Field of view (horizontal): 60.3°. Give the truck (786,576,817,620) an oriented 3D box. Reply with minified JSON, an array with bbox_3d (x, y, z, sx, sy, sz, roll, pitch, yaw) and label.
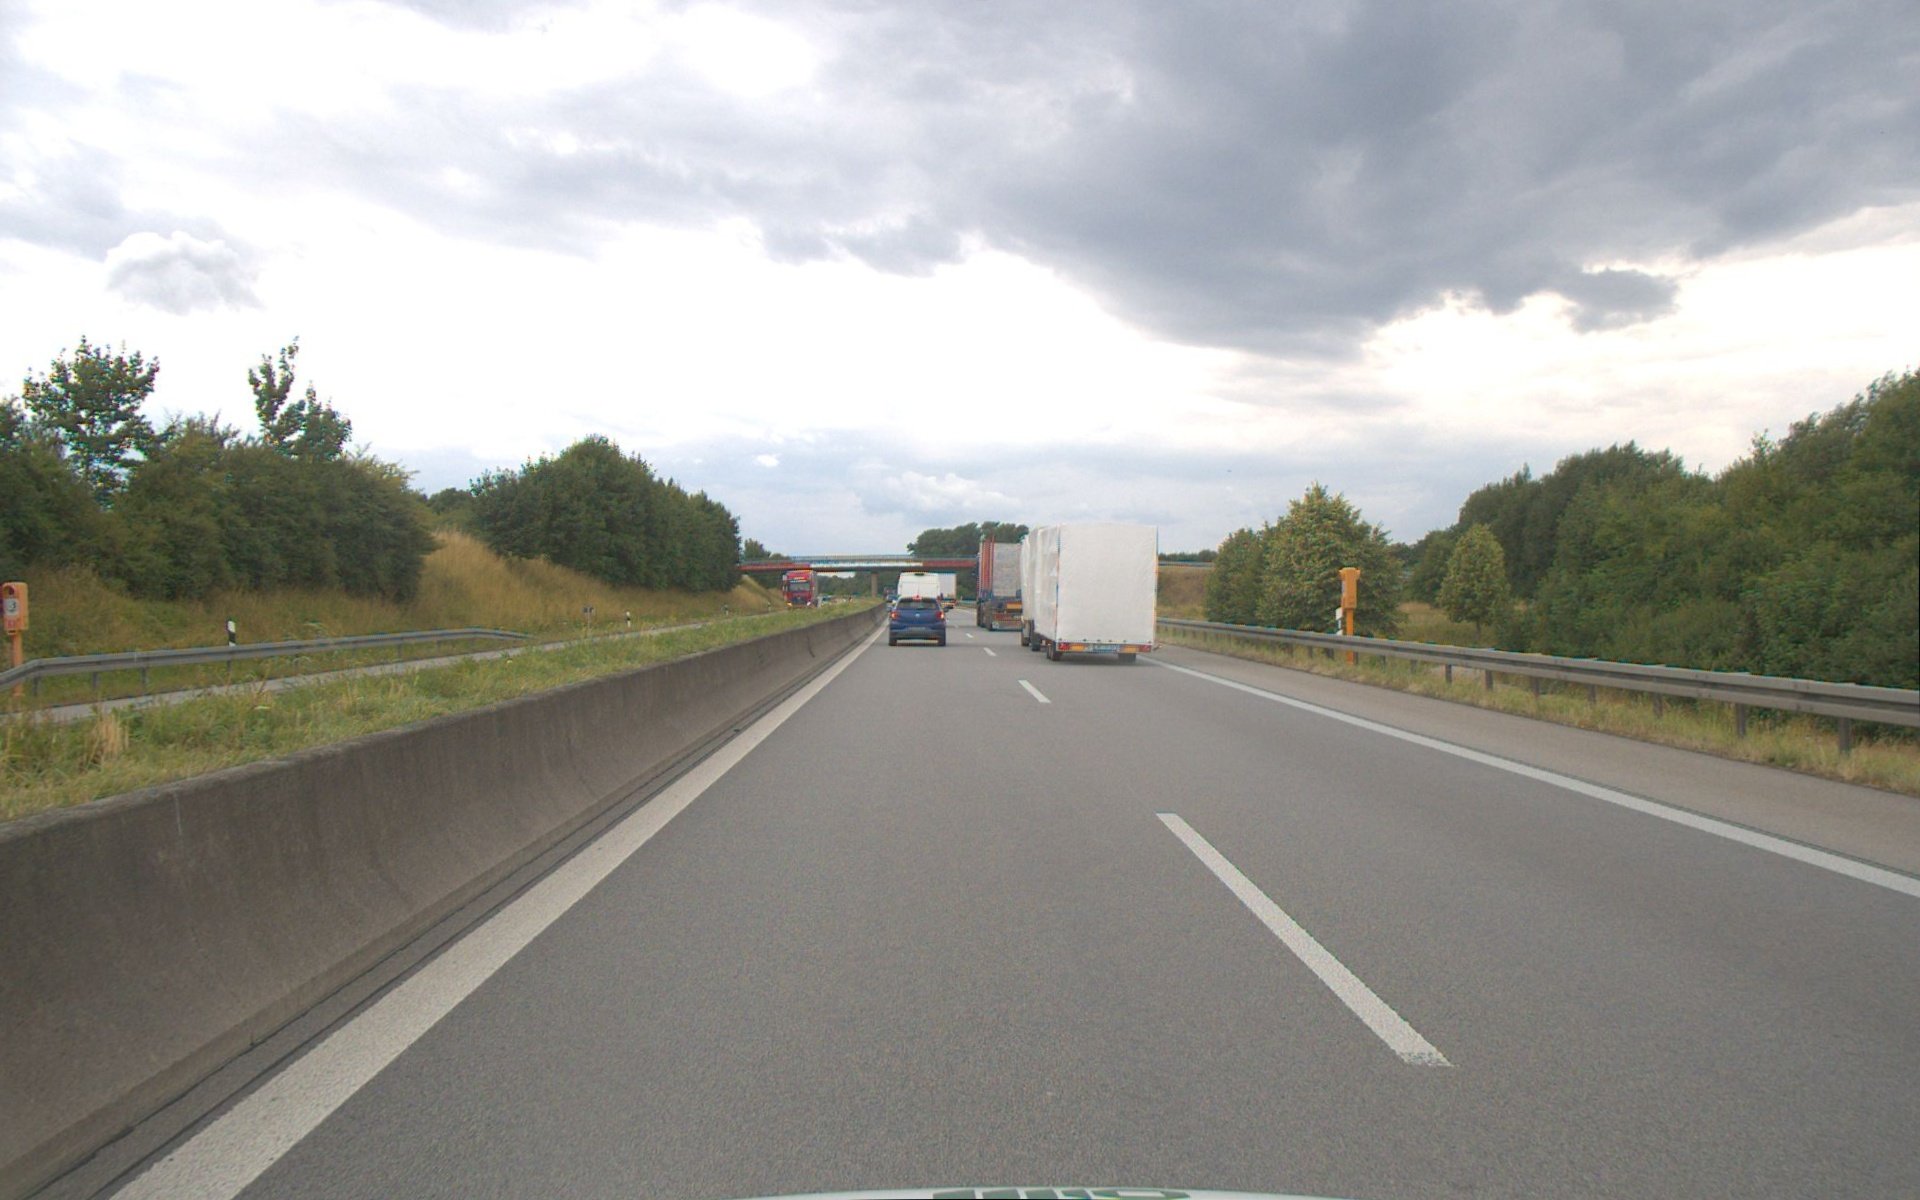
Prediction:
[{"bbox_3d":[-15.715,-0.233,164.091,2.652,4.160,5.162,-2,0,-2],"label":"truck"}]

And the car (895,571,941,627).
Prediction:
[{"bbox_3d":[-2.038,-0.052,78.299,2.087,2.526,5.836,0,0,-3],"label":"car"}]

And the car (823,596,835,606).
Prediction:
[{"bbox_3d":[-19.667,0.139,248.406,1.613,1.434,3.885,-2,0,-4],"label":"car"}]

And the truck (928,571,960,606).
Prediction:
[{"bbox_3d":[-1.888,-1.273,187.699,3.049,3.754,9.316,-2,0,-3],"label":"truck"}]

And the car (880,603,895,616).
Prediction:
[{"bbox_3d":[-9.664,1.202,220.320,1.954,1.713,3.998,0,0,-3],"label":"car"}]

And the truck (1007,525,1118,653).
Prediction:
[{"bbox_3d":[2.777,-0.278,46.630,2.381,3.300,7.243,0,0,-2],"label":"truck"}]

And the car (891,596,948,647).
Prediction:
[{"bbox_3d":[-1.200,0.604,49.389,1.630,1.431,3.647,1,0,-2],"label":"car"}]

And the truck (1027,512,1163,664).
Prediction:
[{"bbox_3d":[3.078,-0.263,39.443,2.366,3.278,7.140,0,0,-2],"label":"truck"}]

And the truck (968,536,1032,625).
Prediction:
[{"bbox_3d":[1.896,-0.925,79.921,2.620,4.116,5.508,0,0,-4],"label":"truck"}]

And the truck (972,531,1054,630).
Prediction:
[{"bbox_3d":[2.254,-0.874,74.435,2.620,4.116,11.099,0,1,-4],"label":"truck"}]

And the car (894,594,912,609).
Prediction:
[{"bbox_3d":[-6.435,0.182,186.088,1.897,1.672,4.899,0,0,-4],"label":"car"}]
